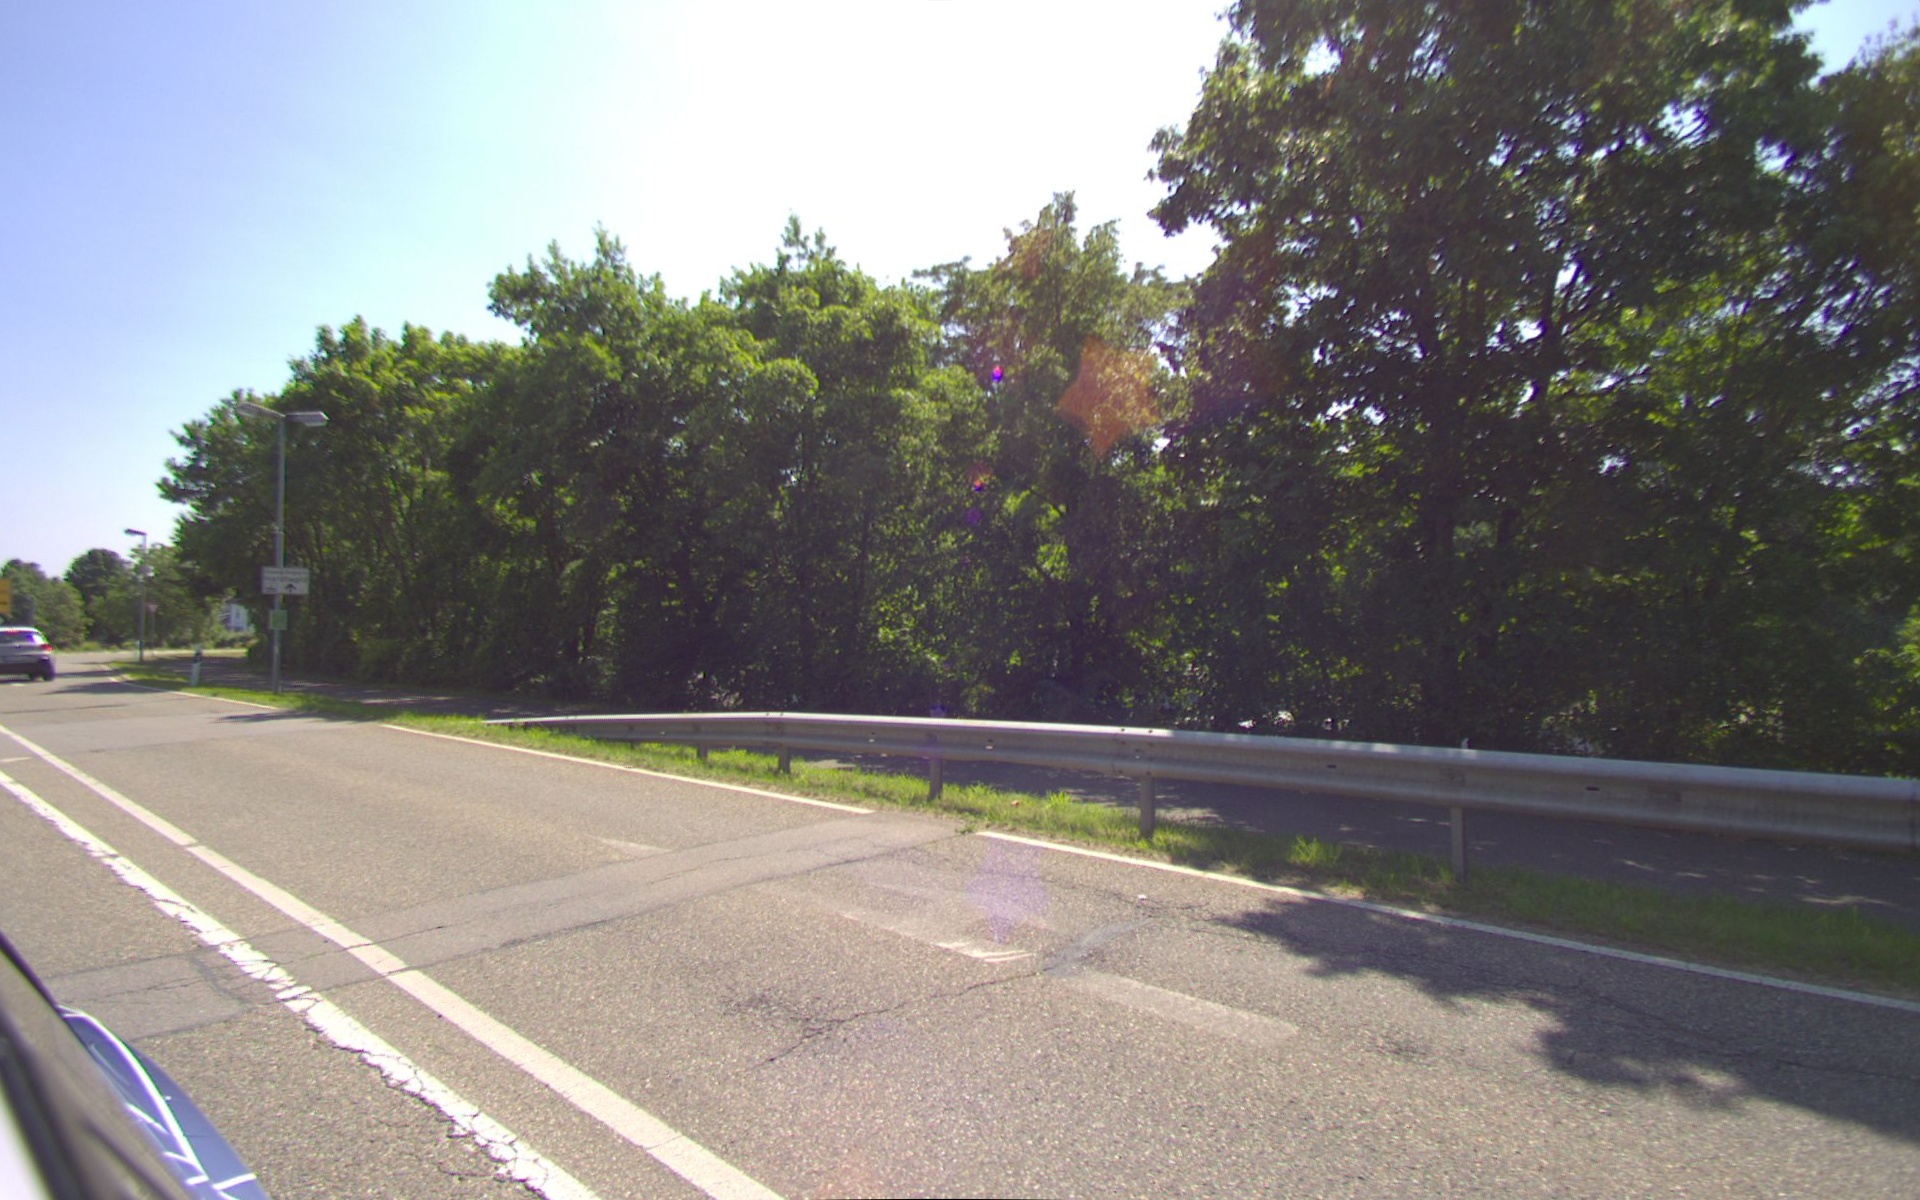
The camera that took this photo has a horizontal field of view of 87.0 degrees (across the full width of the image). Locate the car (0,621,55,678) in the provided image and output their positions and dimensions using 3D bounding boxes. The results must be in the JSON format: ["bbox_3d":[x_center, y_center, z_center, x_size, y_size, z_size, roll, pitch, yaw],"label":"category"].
[{"bbox_3d":[-26.628,1.354,28.172,3.887,1.467,1.721,-1,0,42],"label":"car"}]
